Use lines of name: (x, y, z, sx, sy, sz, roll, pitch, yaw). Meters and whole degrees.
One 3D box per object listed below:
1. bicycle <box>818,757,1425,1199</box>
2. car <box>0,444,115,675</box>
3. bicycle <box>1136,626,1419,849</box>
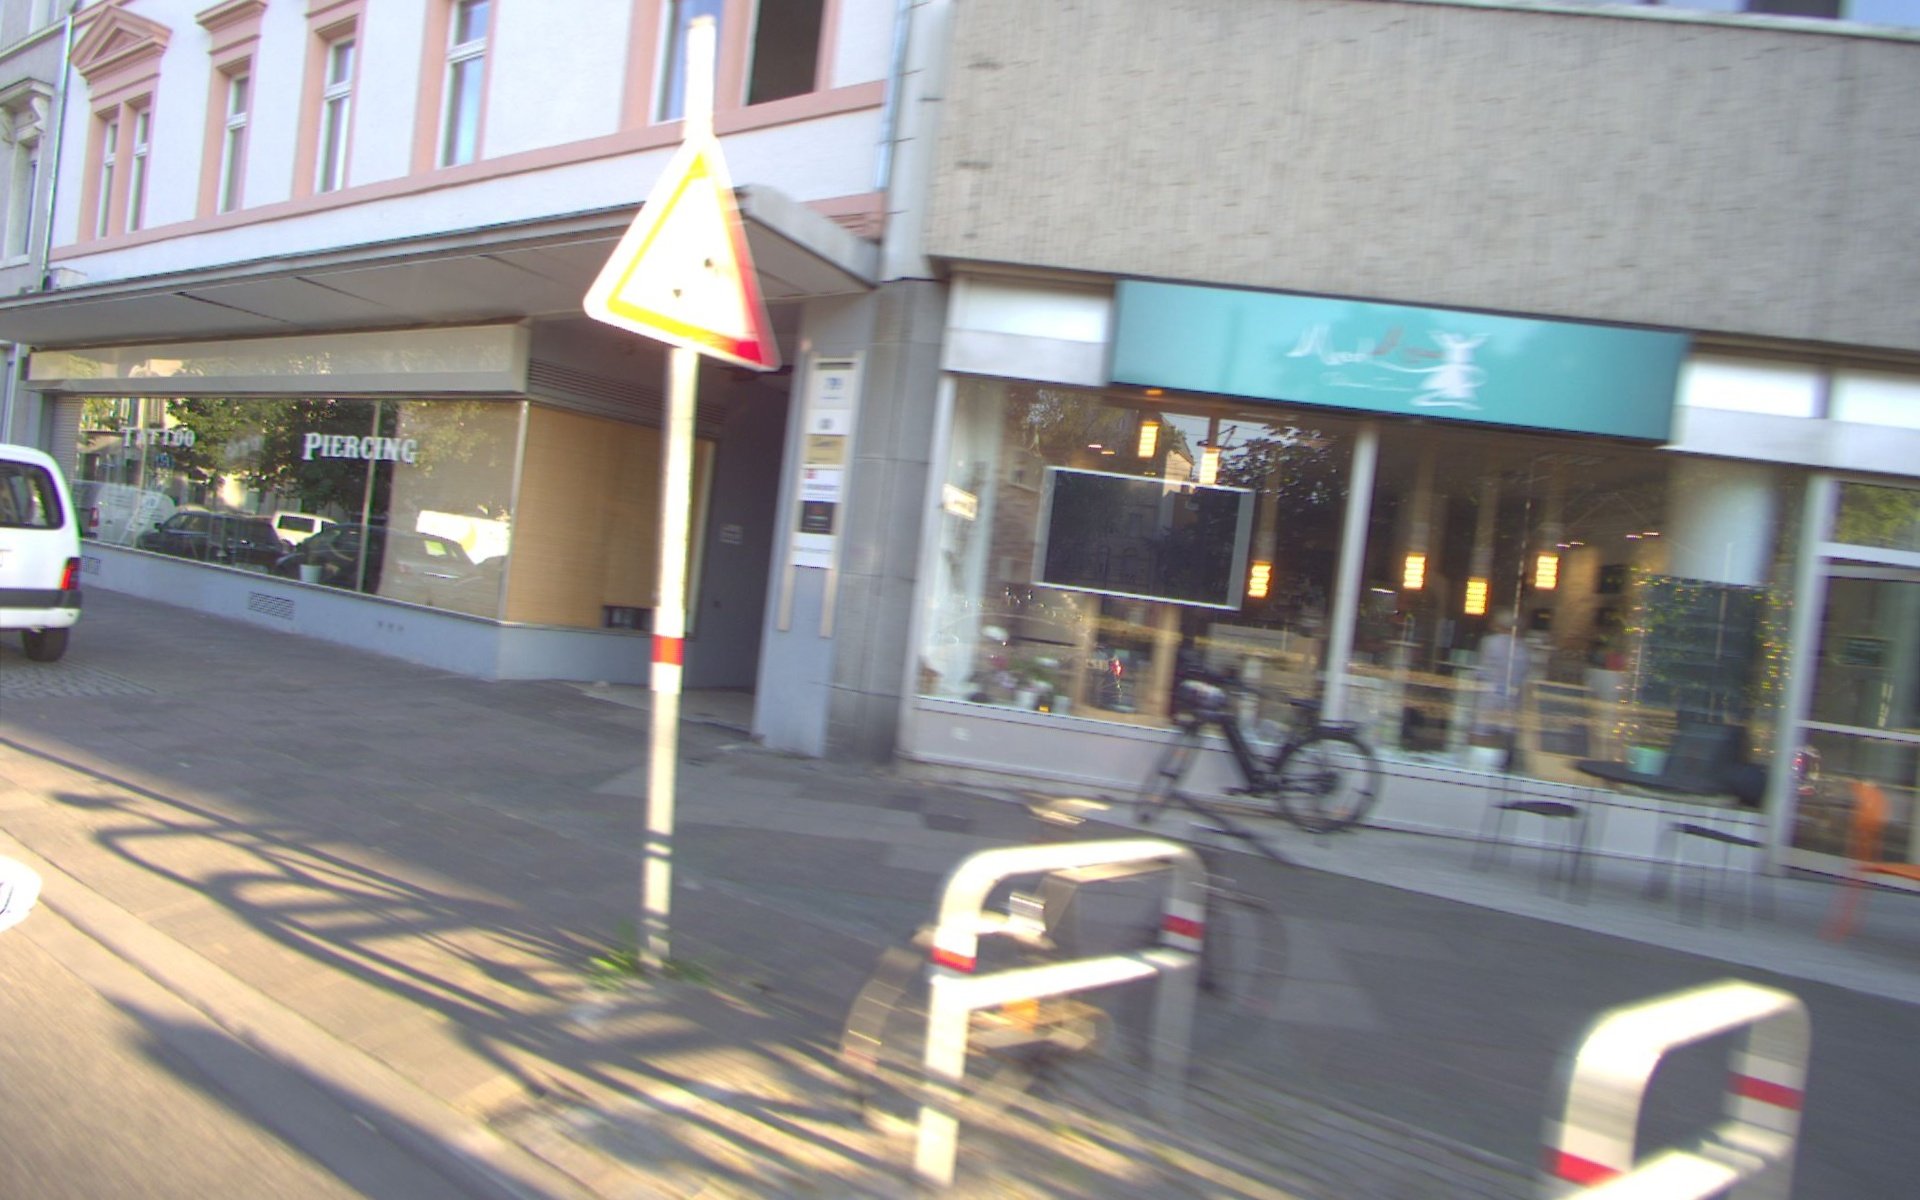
bicycle: (0.550, 1.030, 2.906, 1.777, 1.003, 0.536, 5, 4, -37)
car: (-9.375, -0.536, 8.757, 4.023, 1.814, 1.795, 7, 0, 31)
bicycle: (2.009, 0.869, 6.390, 1.636, 1.293, 0.414, 4, 1, -12)
